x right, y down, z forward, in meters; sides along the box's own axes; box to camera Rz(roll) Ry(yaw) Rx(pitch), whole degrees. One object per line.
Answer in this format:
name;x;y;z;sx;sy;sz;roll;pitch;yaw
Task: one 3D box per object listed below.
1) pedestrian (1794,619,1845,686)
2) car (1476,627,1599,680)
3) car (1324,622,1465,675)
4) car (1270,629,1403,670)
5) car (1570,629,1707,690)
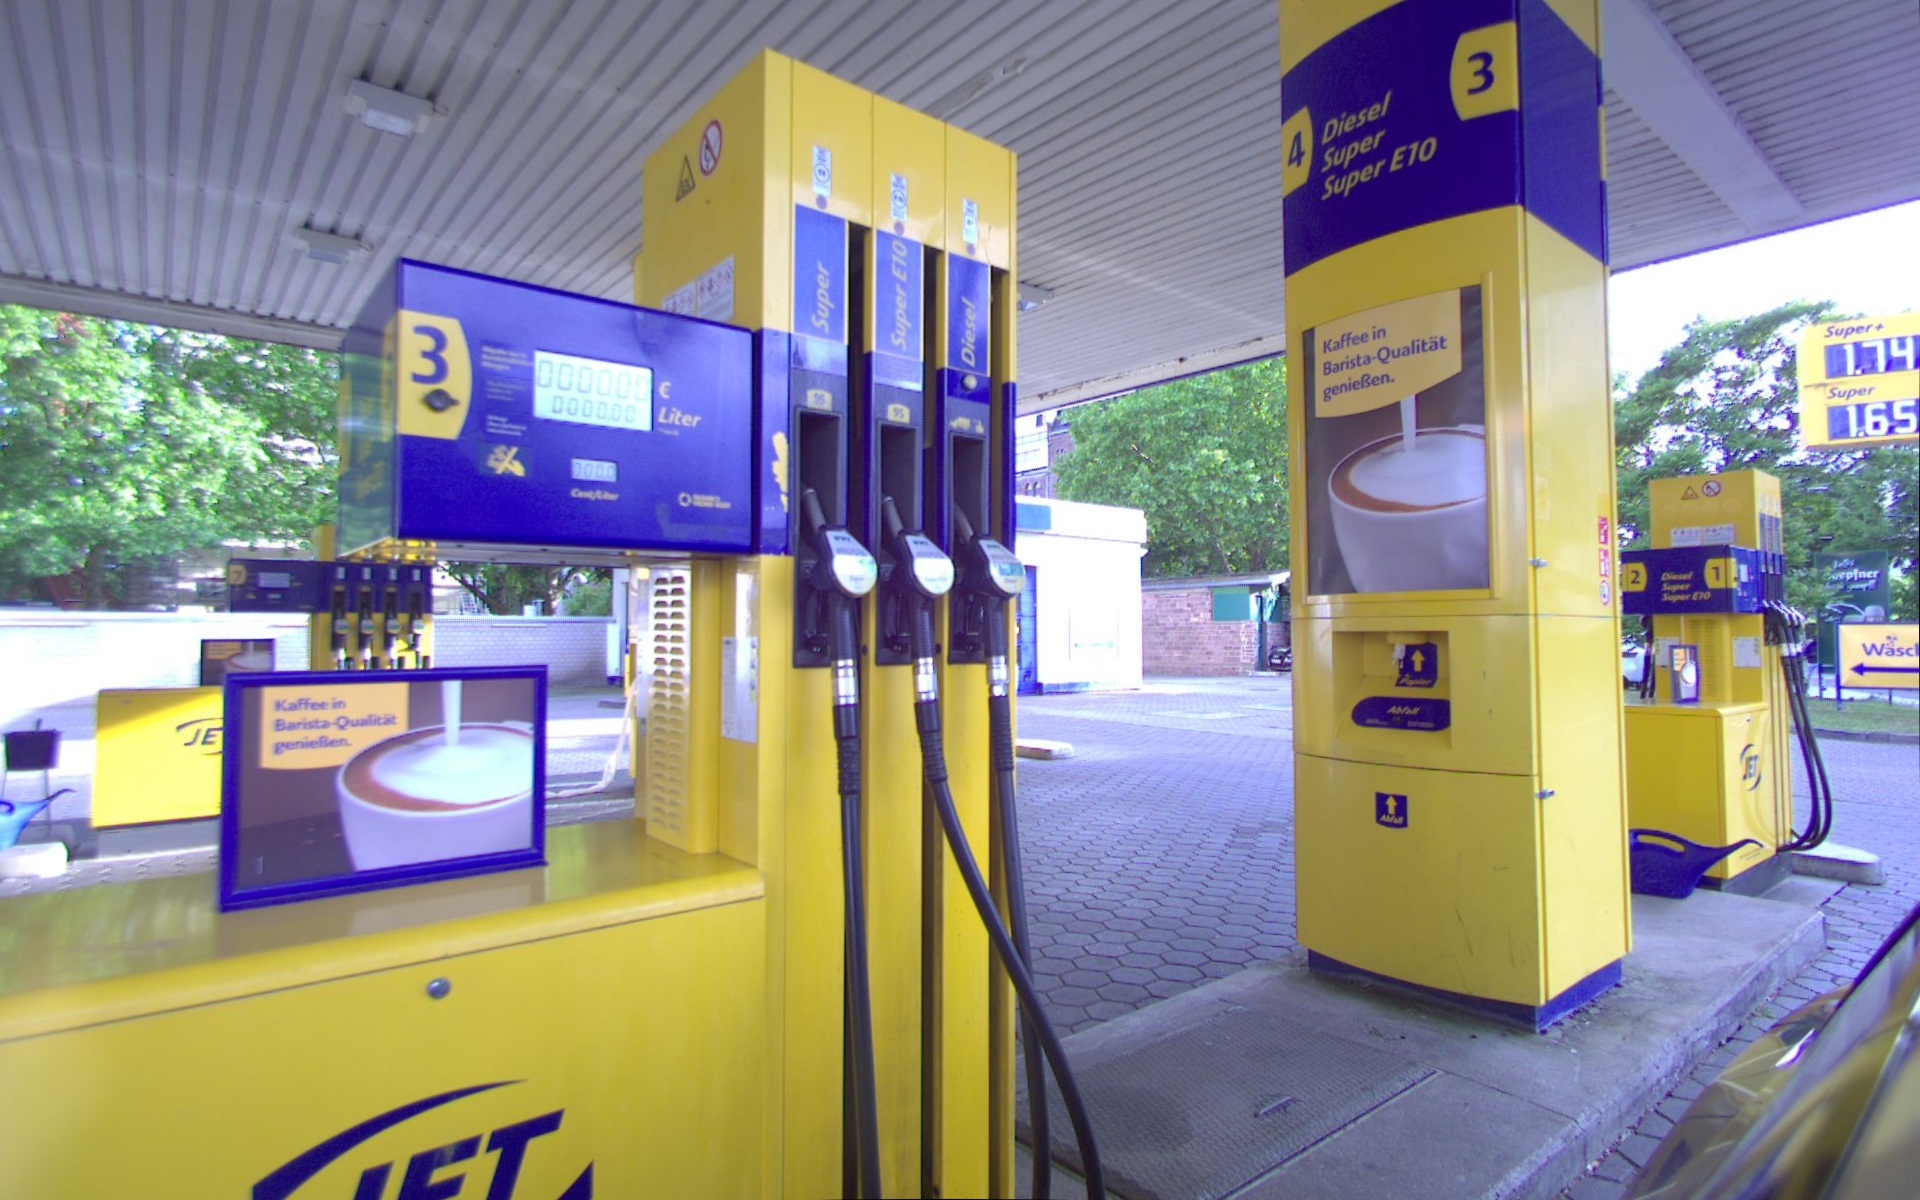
pedestrian;27.253;1.643;32.117;0.923;2.040;1.205;0;-2;25
car;17.559;1.641;30.745;3.923;1.529;1.740;3;-3;-35
car;13.793;1.548;32.144;4.134;1.544;1.791;2;-3;-24
car;12.833;1.699;34.493;4.134;1.294;1.751;2;-3;-22
car;18.224;1.562;27.157;3.923;1.529;1.740;2;-3;-35
